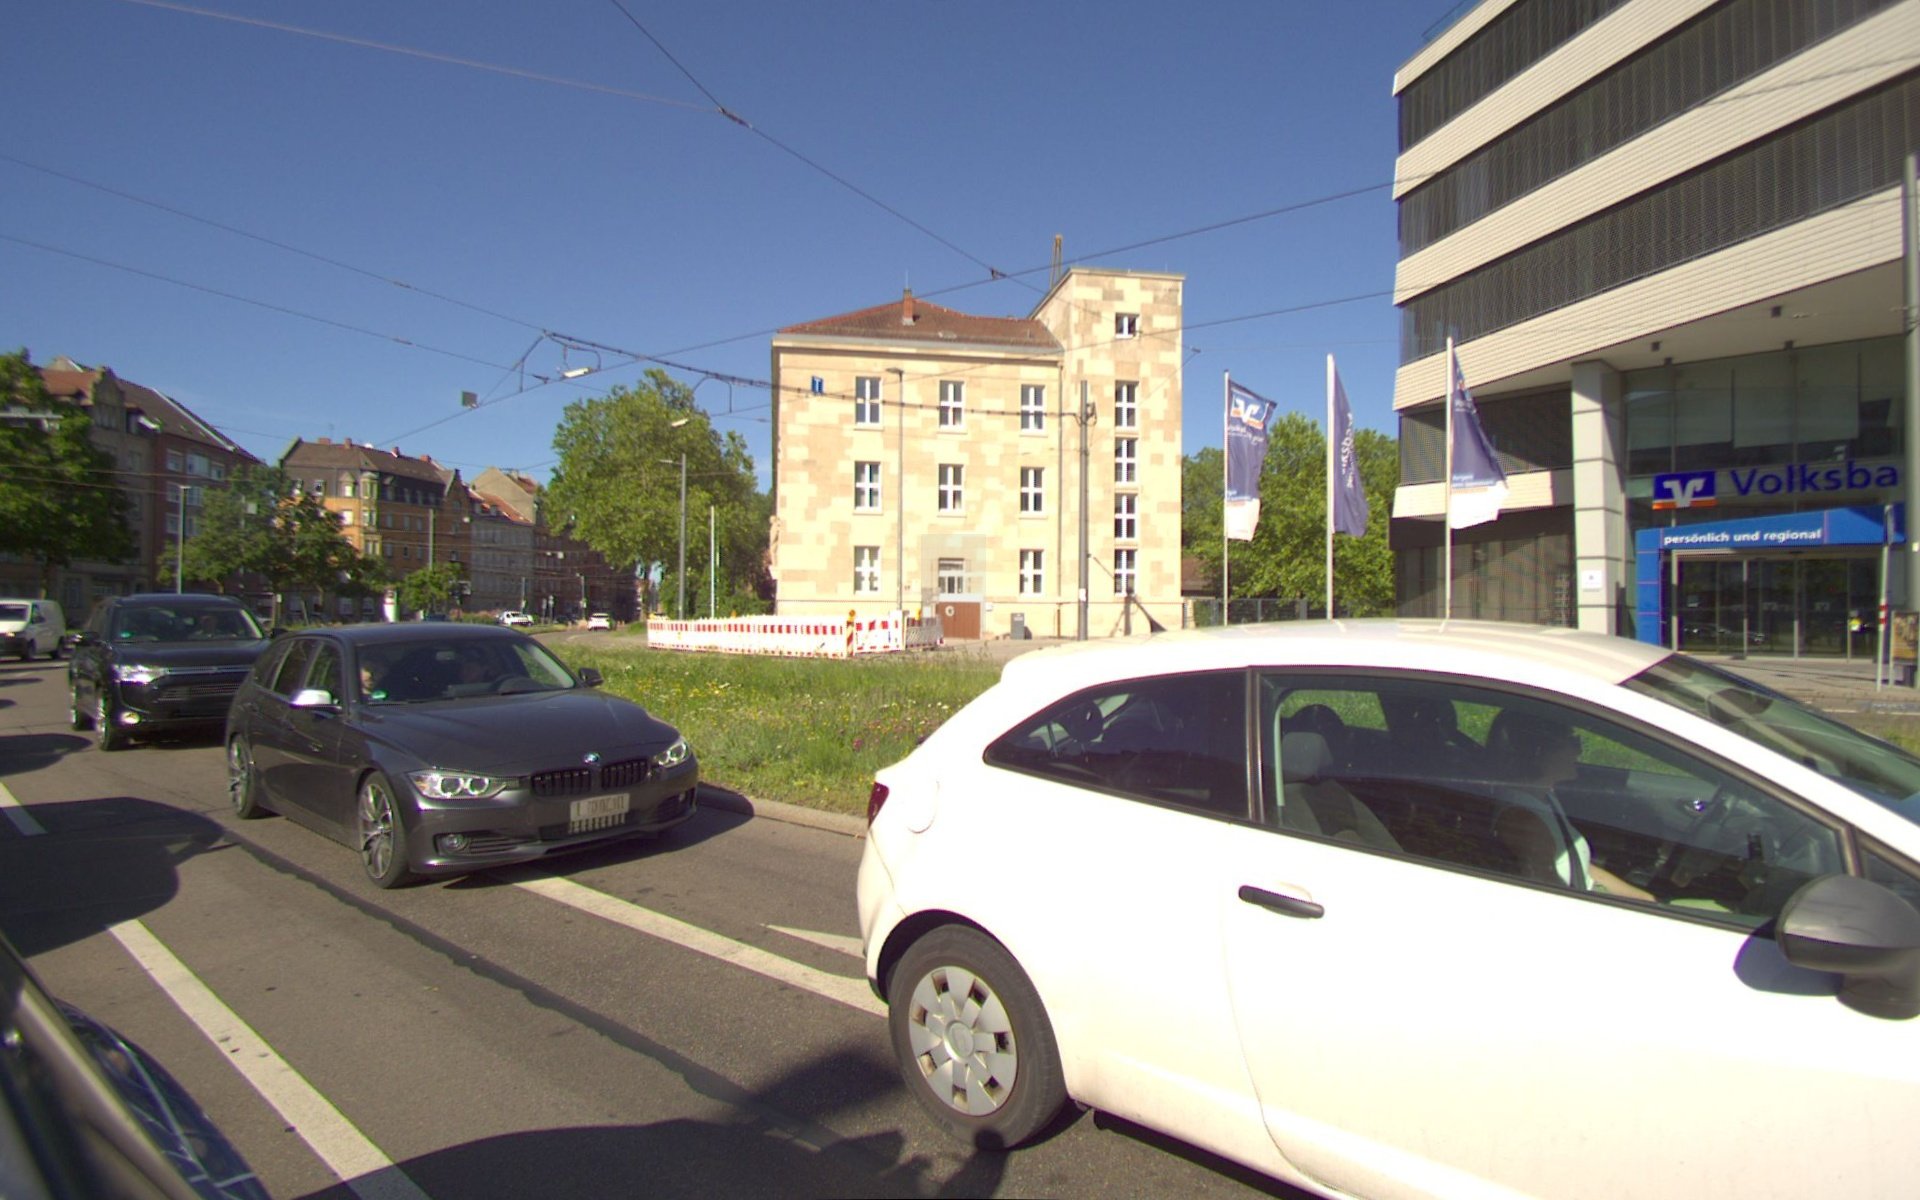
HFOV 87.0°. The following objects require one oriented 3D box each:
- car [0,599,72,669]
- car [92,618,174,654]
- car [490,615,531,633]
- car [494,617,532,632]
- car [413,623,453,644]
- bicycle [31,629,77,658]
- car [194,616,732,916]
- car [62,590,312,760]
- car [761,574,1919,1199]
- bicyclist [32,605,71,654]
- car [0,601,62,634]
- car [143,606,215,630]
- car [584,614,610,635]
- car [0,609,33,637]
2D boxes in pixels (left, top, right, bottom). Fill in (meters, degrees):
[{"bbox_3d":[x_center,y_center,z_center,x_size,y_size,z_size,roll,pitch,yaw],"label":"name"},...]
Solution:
[{"bbox_3d":[-30.332,1.027,32.238,1.949,2.101,4.728,2,-1,-28],"label":"car"},{"bbox_3d":[-36.558,1.577,44.848,1.809,1.483,4.728,2,-1,-27],"label":"car"},{"bbox_3d":[-50.368,2.672,113.374,4.575,1.889,1.979,-1,0,32],"label":"car"},{"bbox_3d":[-52.997,2.878,119.974,3.931,1.663,1.868,-1,0,-18],"label":"car"},{"bbox_3d":[-44.388,2.813,85.261,1.811,1.659,4.157,1,-1,-10],"label":"car"},{"bbox_3d":[-37.932,1.817,42.399,0.751,1.153,2.290,1,-1,-24],"label":"bicycle"},{"bbox_3d":[-3.599,0.825,6.886,4.424,1.377,1.719,-1,0,41],"label":"car"},{"bbox_3d":[-9.381,0.770,12.137,1.817,1.658,4.400,-1,-1,-45],"label":"car"},{"bbox_3d":[1.480,0.692,2.486,4.020,1.452,1.714,0,2,40],"label":"car"},{"bbox_3d":[-37.943,1.224,42.278,0.835,2.029,1.200,0,-1,-21],"label":"bicyclist"},{"bbox_3d":[-49.929,0.886,52.800,4.514,1.680,1.601,2,-2,-43],"label":"car"},{"bbox_3d":[-53.930,1.268,69.882,3.771,1.603,1.601,2,-2,-44],"label":"car"},{"bbox_3d":[-29.624,1.977,82.603,1.794,1.658,4.194,0,-1,-17],"label":"car"},{"bbox_3d":[-48.764,1.147,50.394,3.768,1.390,1.602,2,-2,-41],"label":"car"}]
